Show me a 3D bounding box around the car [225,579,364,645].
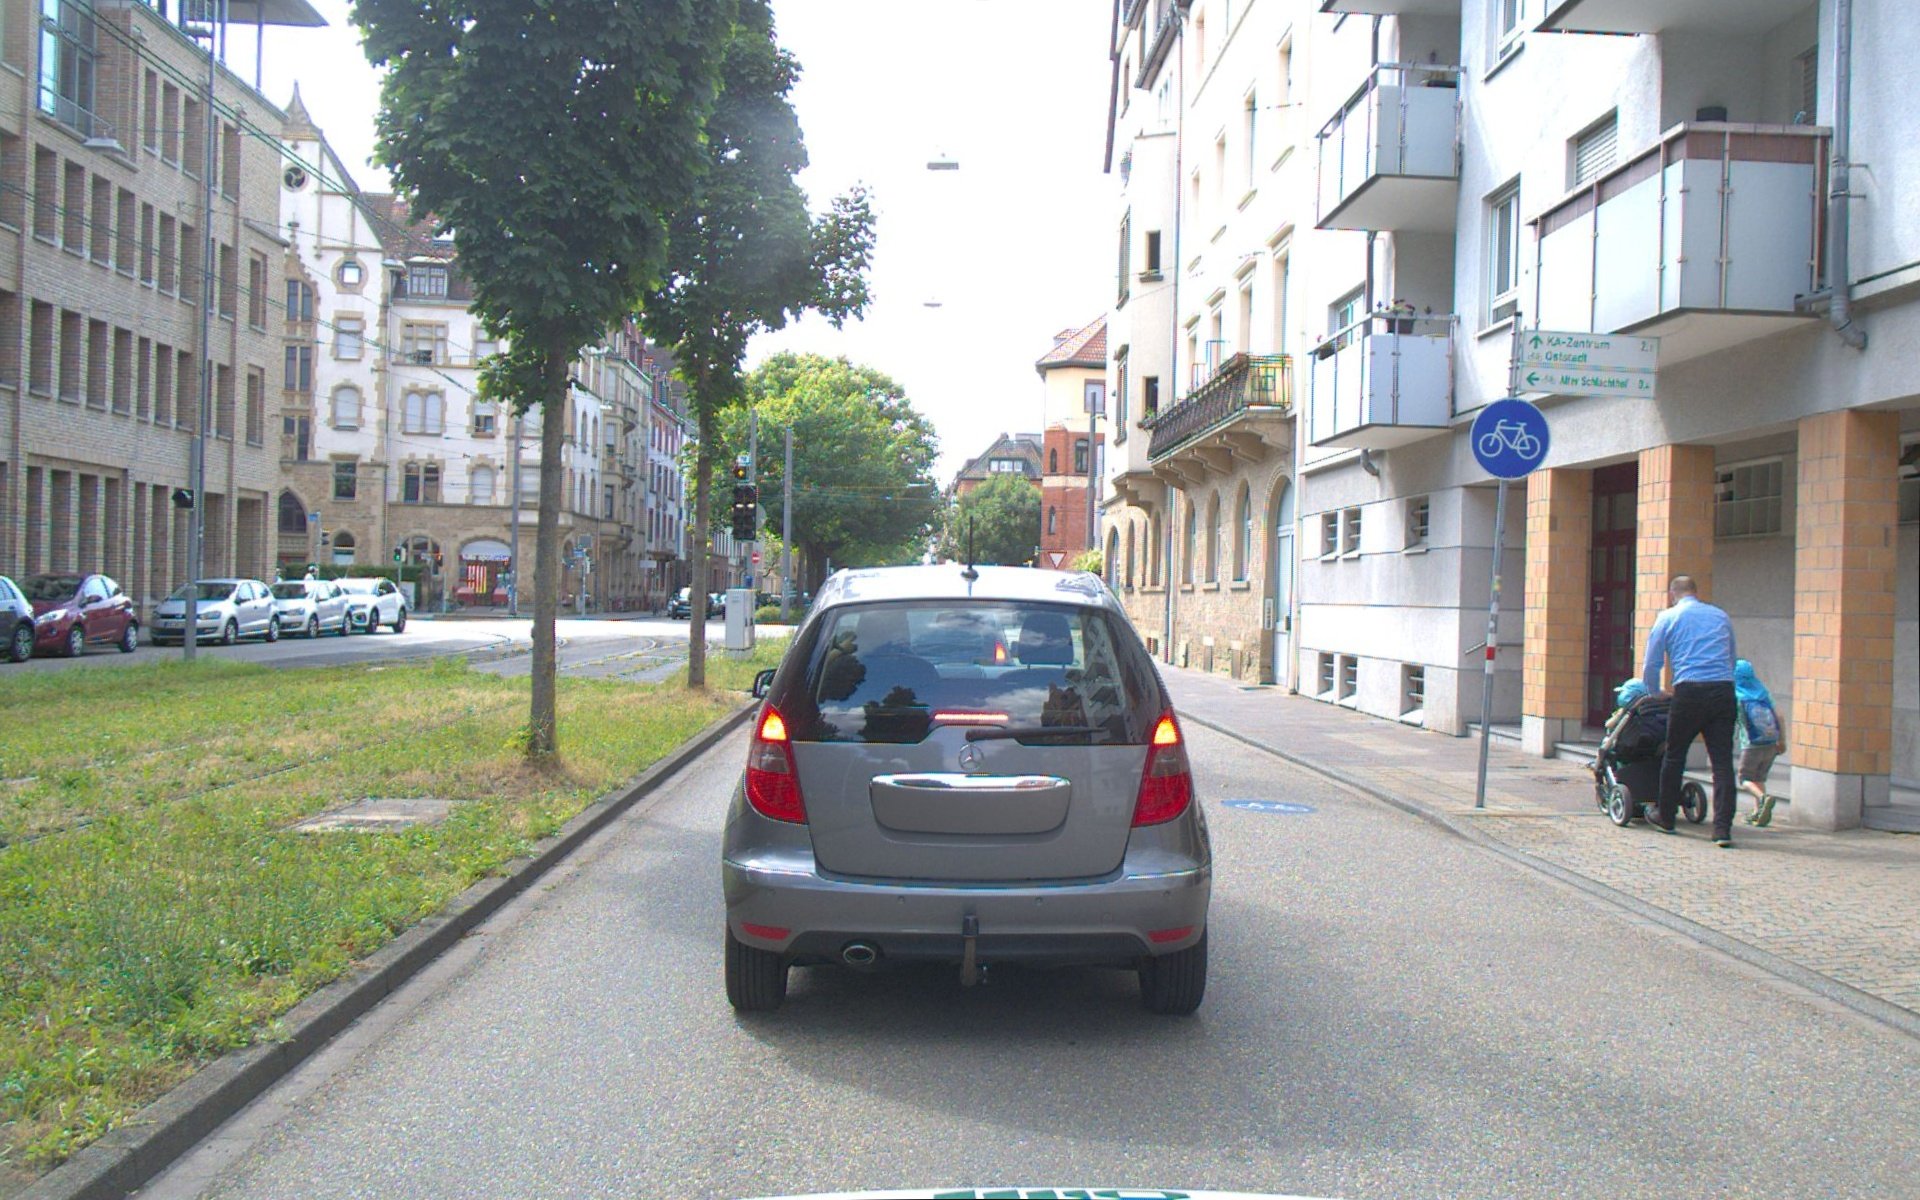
[{"bbox_3d":[-16.874,0.288,42.146,1.893,1.557,4.014,1,0,-1],"label":"car"}]

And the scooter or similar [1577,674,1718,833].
[{"bbox_3d":[4.893,1.074,11.820,0.580,1.019,0.905,-3,0,-1],"label":"scooter or similar"}]

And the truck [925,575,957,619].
[{"bbox_3d":[-1.313,-0.184,116.859,2.079,3.022,4.001,1,0,2],"label":"truck"}]

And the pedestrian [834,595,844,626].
[{"bbox_3d":[-6.790,0.588,92.802,0.484,1.755,0.652,2,0,-11],"label":"pedestrian"}]

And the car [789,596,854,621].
[{"bbox_3d":[-8.268,0.525,98.458,1.957,1.362,3.941,2,0,-41],"label":"car"}]

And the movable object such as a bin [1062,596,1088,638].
[{"bbox_3d":[4.159,0.618,59.623,0.701,1.497,0.980,1,0,-10],"label":"movable object such as a bin"}]

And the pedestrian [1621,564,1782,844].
[{"bbox_3d":[4.942,0.667,11.066,0.608,1.769,0.877,-2,0,-1],"label":"pedestrian"}]

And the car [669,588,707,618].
[{"bbox_3d":[-15.700,0.163,95.458,1.955,1.646,3.994,1,0,-7],"label":"car"}]

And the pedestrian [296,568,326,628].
[{"bbox_3d":[-20.318,-0.063,51.783,0.751,1.827,0.952,2,0,-27],"label":"pedestrian"}]

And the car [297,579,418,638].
[{"bbox_3d":[-16.983,0.221,46.843,1.893,1.561,4.257,1,0,-1],"label":"car"}]

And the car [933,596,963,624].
[{"bbox_3d":[-0.745,0.637,103.965,1.716,1.661,3.500,2,0,2],"label":"car"}]

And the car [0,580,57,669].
[{"bbox_3d":[-16.180,0.372,25.772,1.893,1.420,4.238,1,0,-1],"label":"car"}]

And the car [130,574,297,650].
[{"bbox_3d":[-16.575,0.242,36.963,1.813,1.557,4.209,1,0,-1],"label":"car"}]

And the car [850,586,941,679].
[{"bbox_3d":[-1.244,0.608,33.040,1.687,1.736,3.676,1,0,-1],"label":"car"}]

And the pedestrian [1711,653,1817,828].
[{"bbox_3d":[5.567,0.962,11.469,0.447,1.154,0.494,-2,0,-1],"label":"pedestrian"}]

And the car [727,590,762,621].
[{"bbox_3d":[-12.647,0.297,97.042,1.955,1.758,3.994,1,0,-7],"label":"car"}]

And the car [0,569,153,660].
[{"bbox_3d":[-16.461,0.240,30.358,1.550,1.557,3.549,1,0,-1],"label":"car"}]

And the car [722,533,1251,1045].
[{"bbox_3d":[0.063,0.614,7.169,1.687,1.633,3.676,1,0,-1],"label":"car"}]
